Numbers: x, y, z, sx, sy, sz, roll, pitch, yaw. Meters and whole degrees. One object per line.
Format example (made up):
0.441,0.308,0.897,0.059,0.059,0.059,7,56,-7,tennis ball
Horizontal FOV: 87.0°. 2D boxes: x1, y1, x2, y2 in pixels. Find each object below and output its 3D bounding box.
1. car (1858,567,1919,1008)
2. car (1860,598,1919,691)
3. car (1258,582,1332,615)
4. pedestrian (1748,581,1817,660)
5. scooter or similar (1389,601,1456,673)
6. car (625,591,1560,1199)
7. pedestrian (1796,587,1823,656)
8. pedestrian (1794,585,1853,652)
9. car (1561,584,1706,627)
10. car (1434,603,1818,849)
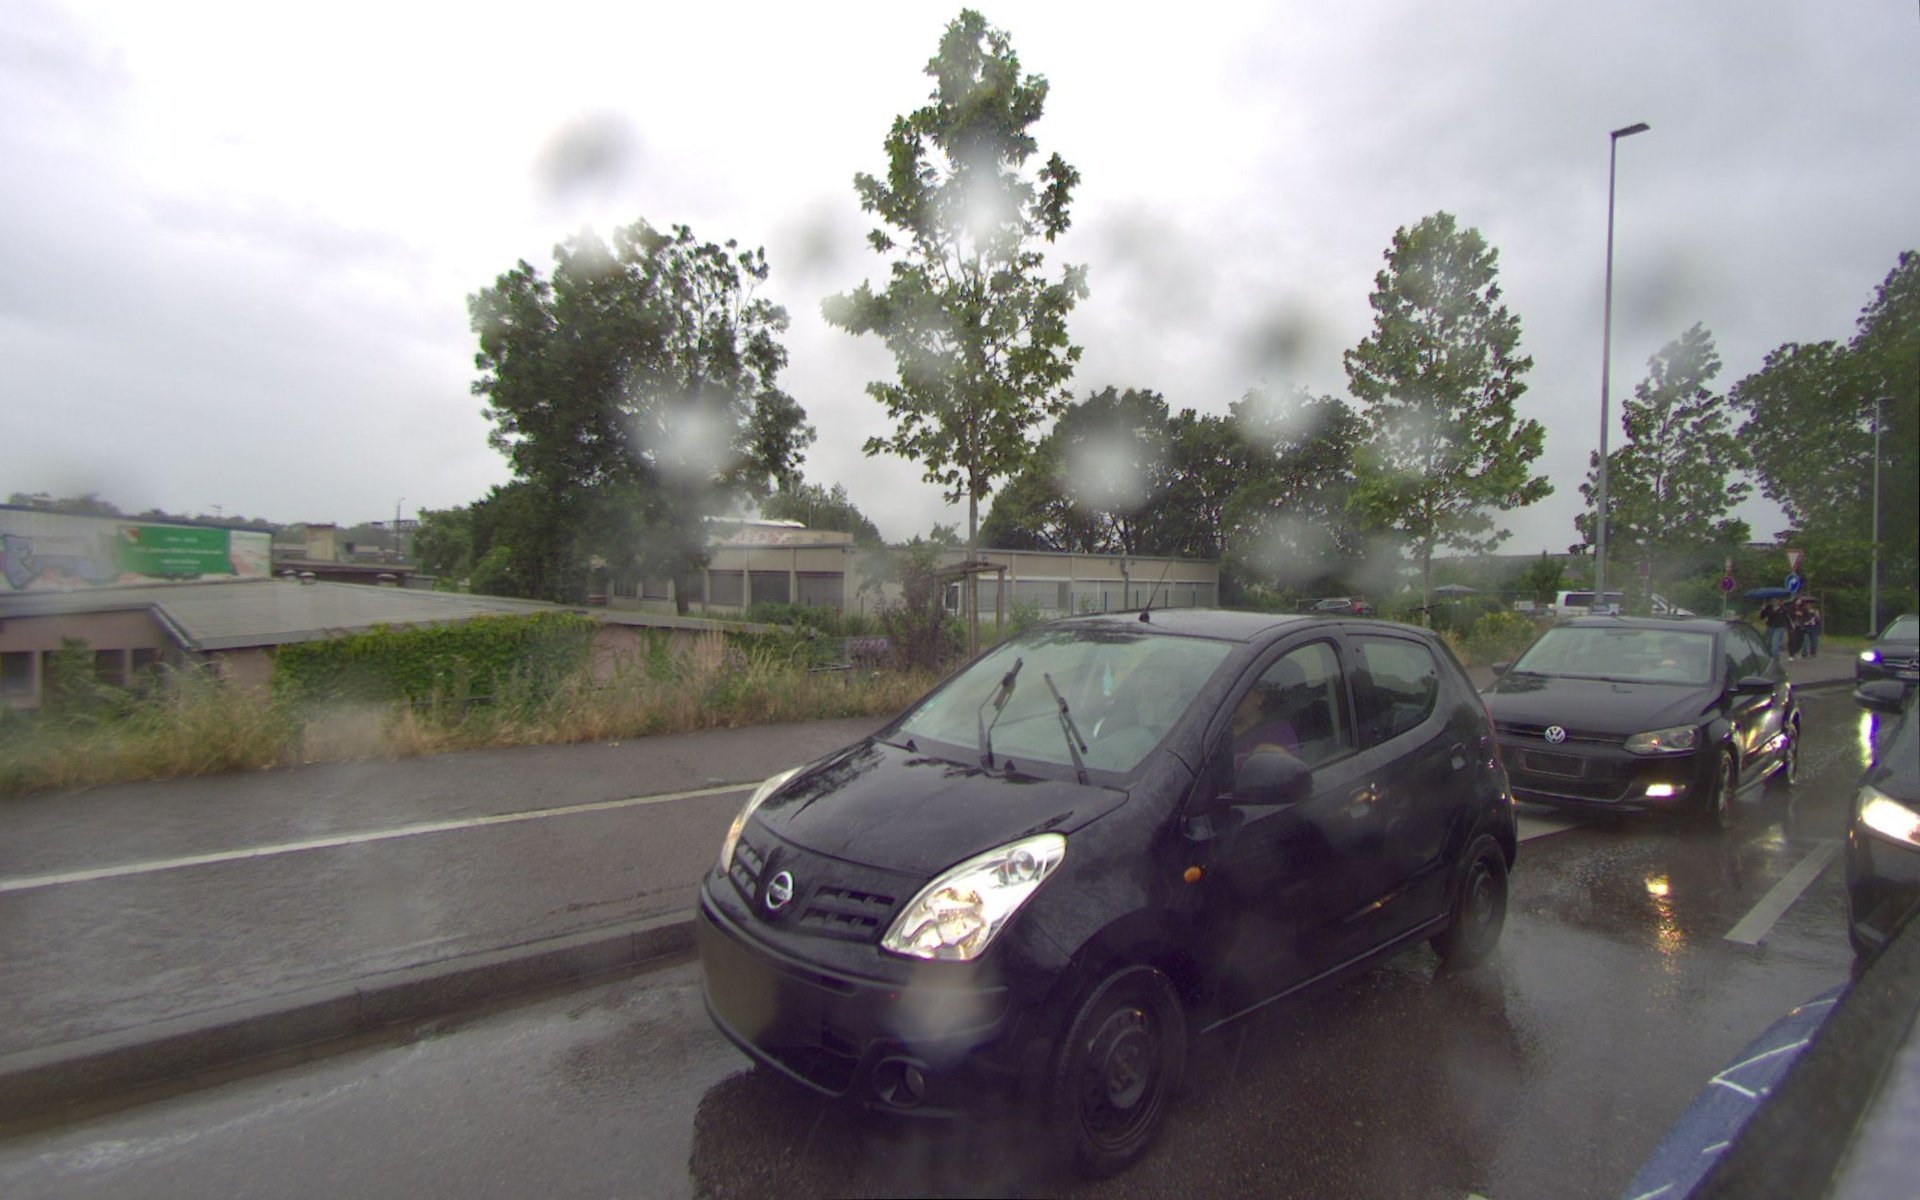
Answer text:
5.482,0.666,4.518,4.091,1.607,1.688,-1,0,-41,car
18.268,0.773,18.919,3.747,1.594,1.697,-1,0,-41,car
20.995,-0.105,63.467,1.964,2.039,3.996,0,0,-38,car
19.442,0.467,23.927,0.953,1.777,1.081,0,3,-42,pedestrian
7.895,0.610,17.239,1.747,1.144,0.380,-1,2,-43,scooter or similar
0.777,0.711,3.866,3.561,1.447,1.631,0,0,-42,car
21.018,0.519,25.041,0.433,1.682,0.400,0,3,-42,pedestrian
23.315,0.471,27.322,0.876,1.729,1.024,0,3,-41,pedestrian
28.145,0.199,42.431,1.966,1.670,4.752,-1,1,-42,car
5.243,0.755,7.799,3.561,1.447,1.631,0,0,-42,car
